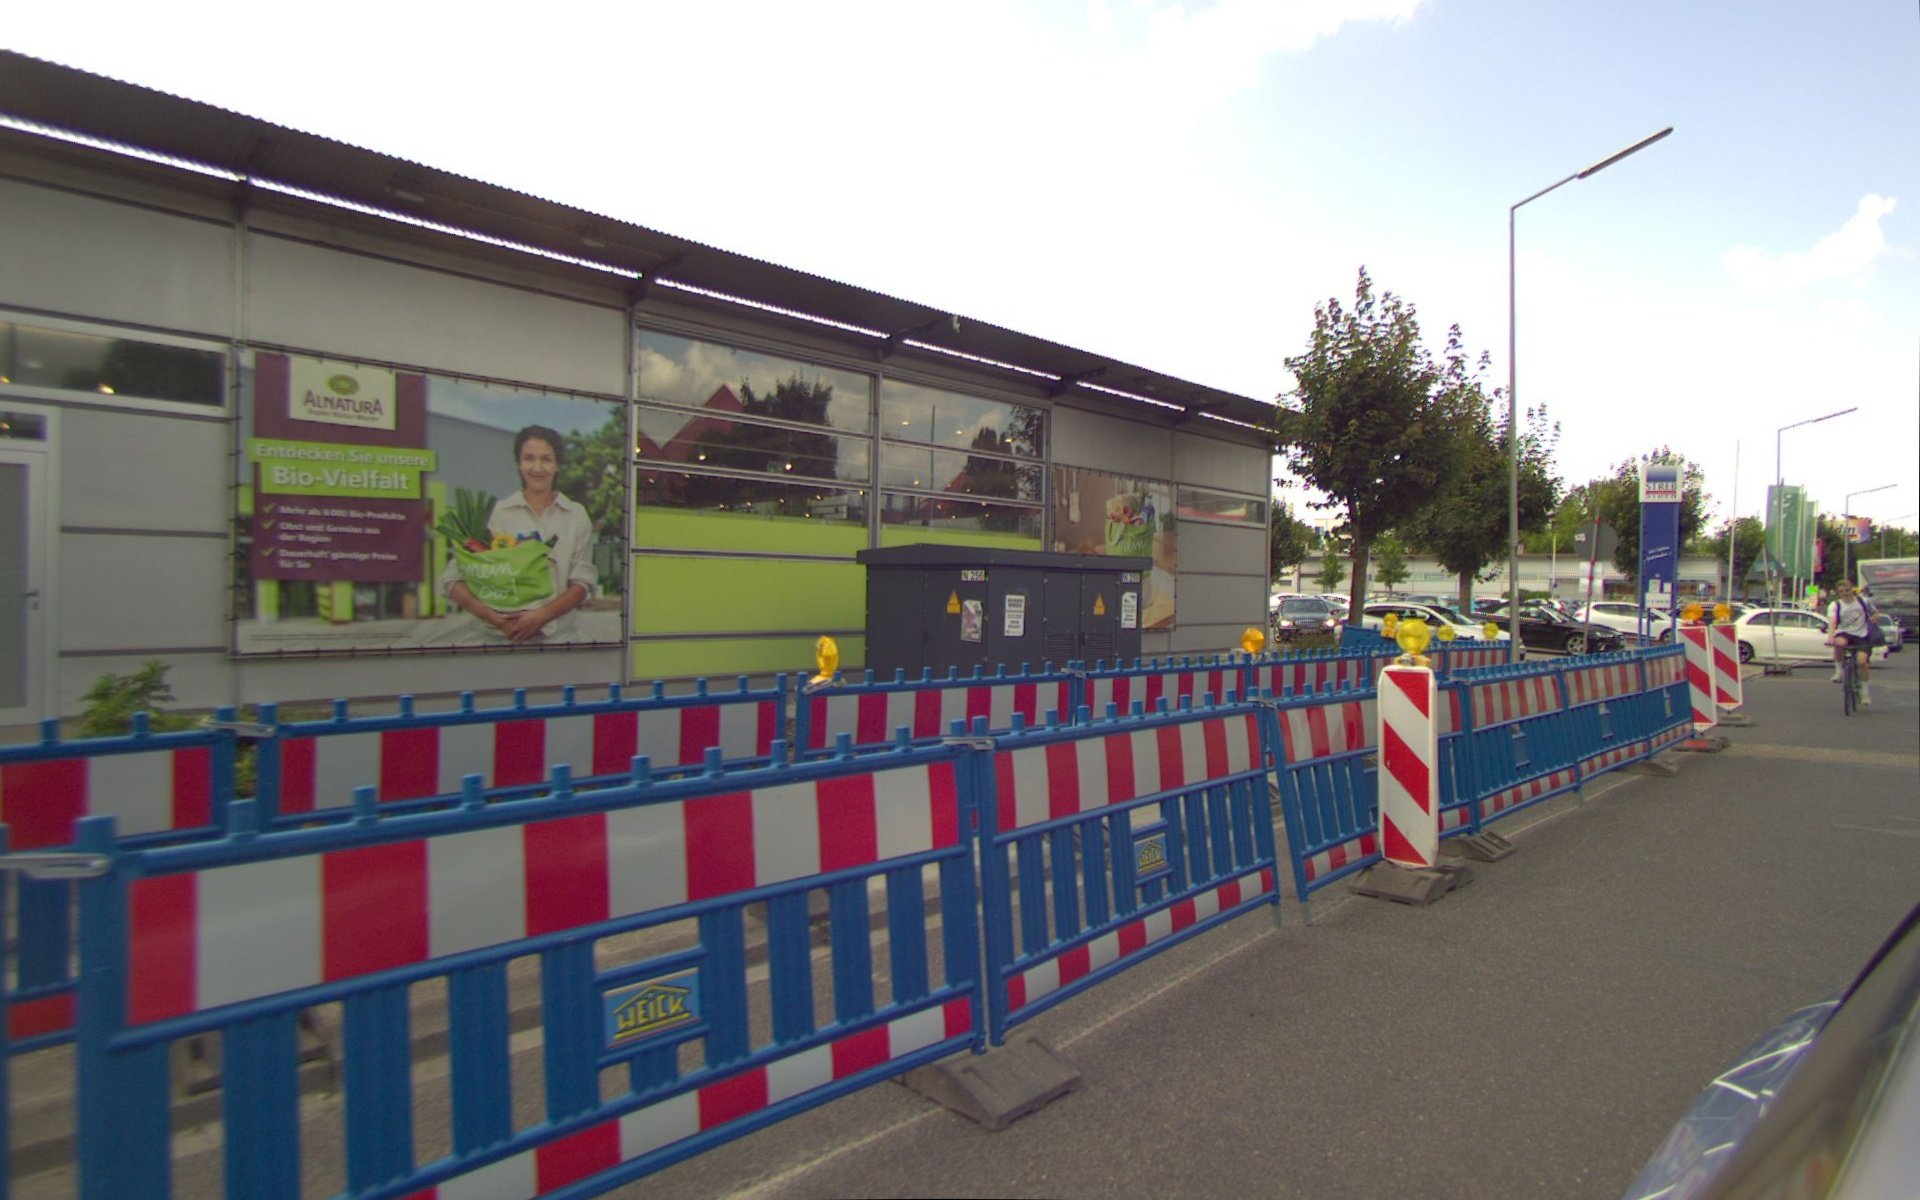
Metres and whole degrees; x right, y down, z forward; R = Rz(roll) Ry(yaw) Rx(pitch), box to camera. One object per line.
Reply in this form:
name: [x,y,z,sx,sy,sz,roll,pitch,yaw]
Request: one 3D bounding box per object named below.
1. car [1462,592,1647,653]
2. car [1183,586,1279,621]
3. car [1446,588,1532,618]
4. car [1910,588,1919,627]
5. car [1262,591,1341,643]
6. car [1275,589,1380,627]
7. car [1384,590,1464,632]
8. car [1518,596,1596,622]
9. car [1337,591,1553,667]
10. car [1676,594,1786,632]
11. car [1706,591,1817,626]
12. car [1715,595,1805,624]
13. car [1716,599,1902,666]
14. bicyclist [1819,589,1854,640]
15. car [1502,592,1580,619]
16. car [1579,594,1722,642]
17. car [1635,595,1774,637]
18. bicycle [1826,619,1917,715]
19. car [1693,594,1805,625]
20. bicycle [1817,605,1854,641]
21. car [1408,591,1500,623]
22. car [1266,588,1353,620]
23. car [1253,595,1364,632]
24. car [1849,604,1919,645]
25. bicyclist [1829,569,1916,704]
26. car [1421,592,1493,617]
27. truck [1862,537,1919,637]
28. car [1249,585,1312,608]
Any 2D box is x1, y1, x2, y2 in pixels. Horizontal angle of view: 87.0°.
car: [16.810,0.594,28.766,1.775,1.448,4.187,1,2,-42]
car: [12.923,0.131,48.444,4.119,1.502,1.697,3,1,44]
car: [29.494,0.164,56.472,3.936,1.502,1.697,3,1,44]
car: [62.883,0.461,65.298,5.365,2.440,2.052,1,-2,-45]
car: [10.568,0.488,31.625,1.659,1.428,4.376,0,1,10]
car: [16.365,0.315,45.207,4.060,1.502,1.697,3,1,44]
car: [17.939,0.418,39.083,1.719,1.538,3.694,1,0,43]
car: [38.050,0.552,64.544,3.936,1.502,1.697,3,1,44]
car: [11.259,0.607,23.666,1.957,1.481,4.107,1,2,-44]
car: [35.308,0.582,46.411,3.881,1.541,1.723,3,1,42]
car: [47.057,0.468,59.476,1.871,1.810,4.898,1,1,-44]
car: [45.518,0.520,57.628,1.625,1.518,3.817,1,1,-42]
car: [22.216,0.785,26.563,3.600,1.488,1.662,3,2,43]
bicyclist: [34.372,0.563,39.690,0.814,1.933,0.796,0,4,-42]
car: [36.235,0.354,63.141,3.936,1.502,1.697,3,1,44]
car: [24.617,0.601,36.170,3.953,1.428,1.768,4,2,44]
car: [30.328,0.613,41.305,4.310,1.461,1.817,3,2,45]
bicycle: [12.848,0.882,14.240,2.584,1.195,0.798,0,-1,-45]
car: [41.996,0.464,53.932,1.828,1.455,4.485,1,1,-44]
bicycle: [34.335,0.870,39.689,1.850,1.310,0.794,0,4,-42]
car: [25.790,0.340,52.892,3.983,1.502,1.713,3,1,44]
car: [18.375,0.210,53.291,4.011,1.502,1.697,3,1,44]
car: [14.749,0.562,42.965,4.105,1.354,1.765,3,2,44]
car: [33.154,0.865,36.257,3.919,1.358,1.662,1,-3,-45]
bicyclist: [12.864,0.490,14.263,1.187,1.815,0.807,0,-1,-45]
car: [32.883,0.303,67.005,3.936,1.502,1.697,3,1,44]
truck: [42.777,-0.525,45.360,8.141,4.170,2.780,1,-2,-44]
car: [23.281,-0.279,73.645,4.015,1.502,1.697,3,1,44]
